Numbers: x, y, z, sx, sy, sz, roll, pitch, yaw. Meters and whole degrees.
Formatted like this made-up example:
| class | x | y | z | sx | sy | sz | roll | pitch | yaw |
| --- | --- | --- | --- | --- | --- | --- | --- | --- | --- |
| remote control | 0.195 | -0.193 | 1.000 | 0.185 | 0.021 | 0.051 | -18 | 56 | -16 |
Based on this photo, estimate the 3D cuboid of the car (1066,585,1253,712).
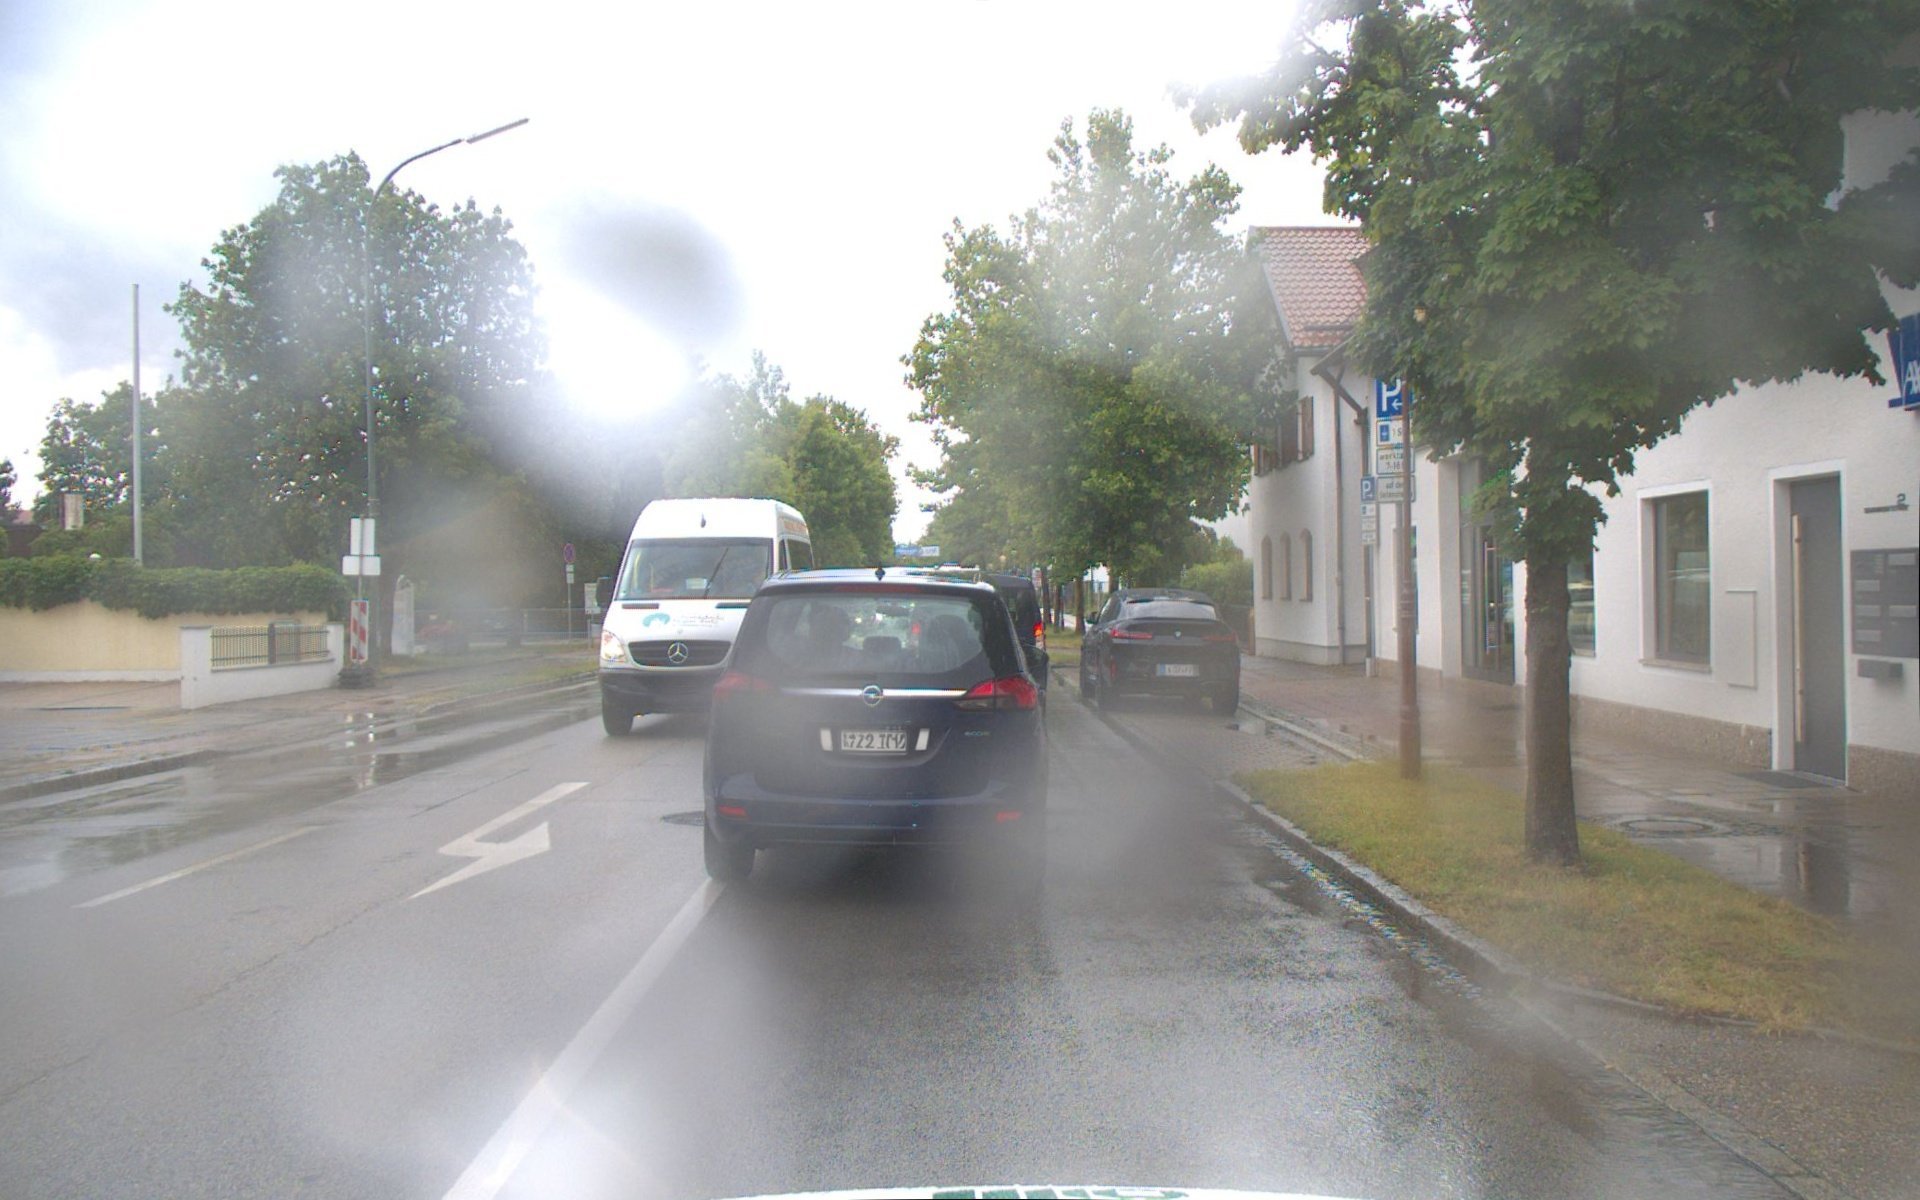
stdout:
| class | x | y | z | sx | sy | sz | roll | pitch | yaw |
| --- | --- | --- | --- | --- | --- | --- | --- | --- | --- |
| car | 2.694 | 0.634 | 23.233 | 2.074 | 1.609 | 3.934 | 1 | 0 | -1 |

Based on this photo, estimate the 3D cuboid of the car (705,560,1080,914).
| class | x | y | z | sx | sy | sz | roll | pitch | yaw |
| --- | --- | --- | --- | --- | --- | --- | --- | --- | --- |
| car | -0.327 | 0.642 | 9.564 | 1.732 | 1.633 | 3.663 | 1 | 0 | -1 |

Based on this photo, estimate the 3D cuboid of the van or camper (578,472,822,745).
| class | x | y | z | sx | sy | sz | roll | pitch | yaw |
| --- | --- | --- | --- | --- | --- | --- | --- | --- | --- |
| van or camper | -2.911 | 0.077 | 20.030 | 2.052 | 2.754 | 6.267 | -1 | 0 | -1 |

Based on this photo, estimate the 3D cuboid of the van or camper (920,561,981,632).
| class | x | y | z | sx | sy | sz | roll | pitch | yaw |
| --- | --- | --- | --- | --- | --- | --- | --- | --- | --- |
| van or camper | -0.399 | -0.144 | 66.703 | 2.312 | 2.712 | 5.371 | -1 | 0 | 0 |

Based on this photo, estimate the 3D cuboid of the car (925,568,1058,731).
| class | x | y | z | sx | sy | sz | roll | pitch | yaw |
| --- | --- | --- | --- | --- | --- | --- | --- | --- | --- |
| car | 0.343 | 0.554 | 19.972 | 1.469 | 1.807 | 3.111 | 0 | 0 | -1 |

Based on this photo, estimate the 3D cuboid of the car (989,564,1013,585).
| class | x | y | z | sx | sy | sz | roll | pitch | yaw |
| --- | --- | --- | --- | --- | --- | --- | --- | --- | --- |
| car | 3.002 | -1.878 | 121.270 | 1.597 | 1.402 | 3.622 | -2 | 0 | -1 |

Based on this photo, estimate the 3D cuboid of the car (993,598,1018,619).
| class | x | y | z | sx | sy | sz | roll | pitch | yaw |
| --- | --- | --- | --- | --- | --- | --- | --- | --- | --- |
| car | 3.070 | 0.597 | 111.766 | 1.597 | 1.402 | 3.622 | 0 | -1 | -1 |
